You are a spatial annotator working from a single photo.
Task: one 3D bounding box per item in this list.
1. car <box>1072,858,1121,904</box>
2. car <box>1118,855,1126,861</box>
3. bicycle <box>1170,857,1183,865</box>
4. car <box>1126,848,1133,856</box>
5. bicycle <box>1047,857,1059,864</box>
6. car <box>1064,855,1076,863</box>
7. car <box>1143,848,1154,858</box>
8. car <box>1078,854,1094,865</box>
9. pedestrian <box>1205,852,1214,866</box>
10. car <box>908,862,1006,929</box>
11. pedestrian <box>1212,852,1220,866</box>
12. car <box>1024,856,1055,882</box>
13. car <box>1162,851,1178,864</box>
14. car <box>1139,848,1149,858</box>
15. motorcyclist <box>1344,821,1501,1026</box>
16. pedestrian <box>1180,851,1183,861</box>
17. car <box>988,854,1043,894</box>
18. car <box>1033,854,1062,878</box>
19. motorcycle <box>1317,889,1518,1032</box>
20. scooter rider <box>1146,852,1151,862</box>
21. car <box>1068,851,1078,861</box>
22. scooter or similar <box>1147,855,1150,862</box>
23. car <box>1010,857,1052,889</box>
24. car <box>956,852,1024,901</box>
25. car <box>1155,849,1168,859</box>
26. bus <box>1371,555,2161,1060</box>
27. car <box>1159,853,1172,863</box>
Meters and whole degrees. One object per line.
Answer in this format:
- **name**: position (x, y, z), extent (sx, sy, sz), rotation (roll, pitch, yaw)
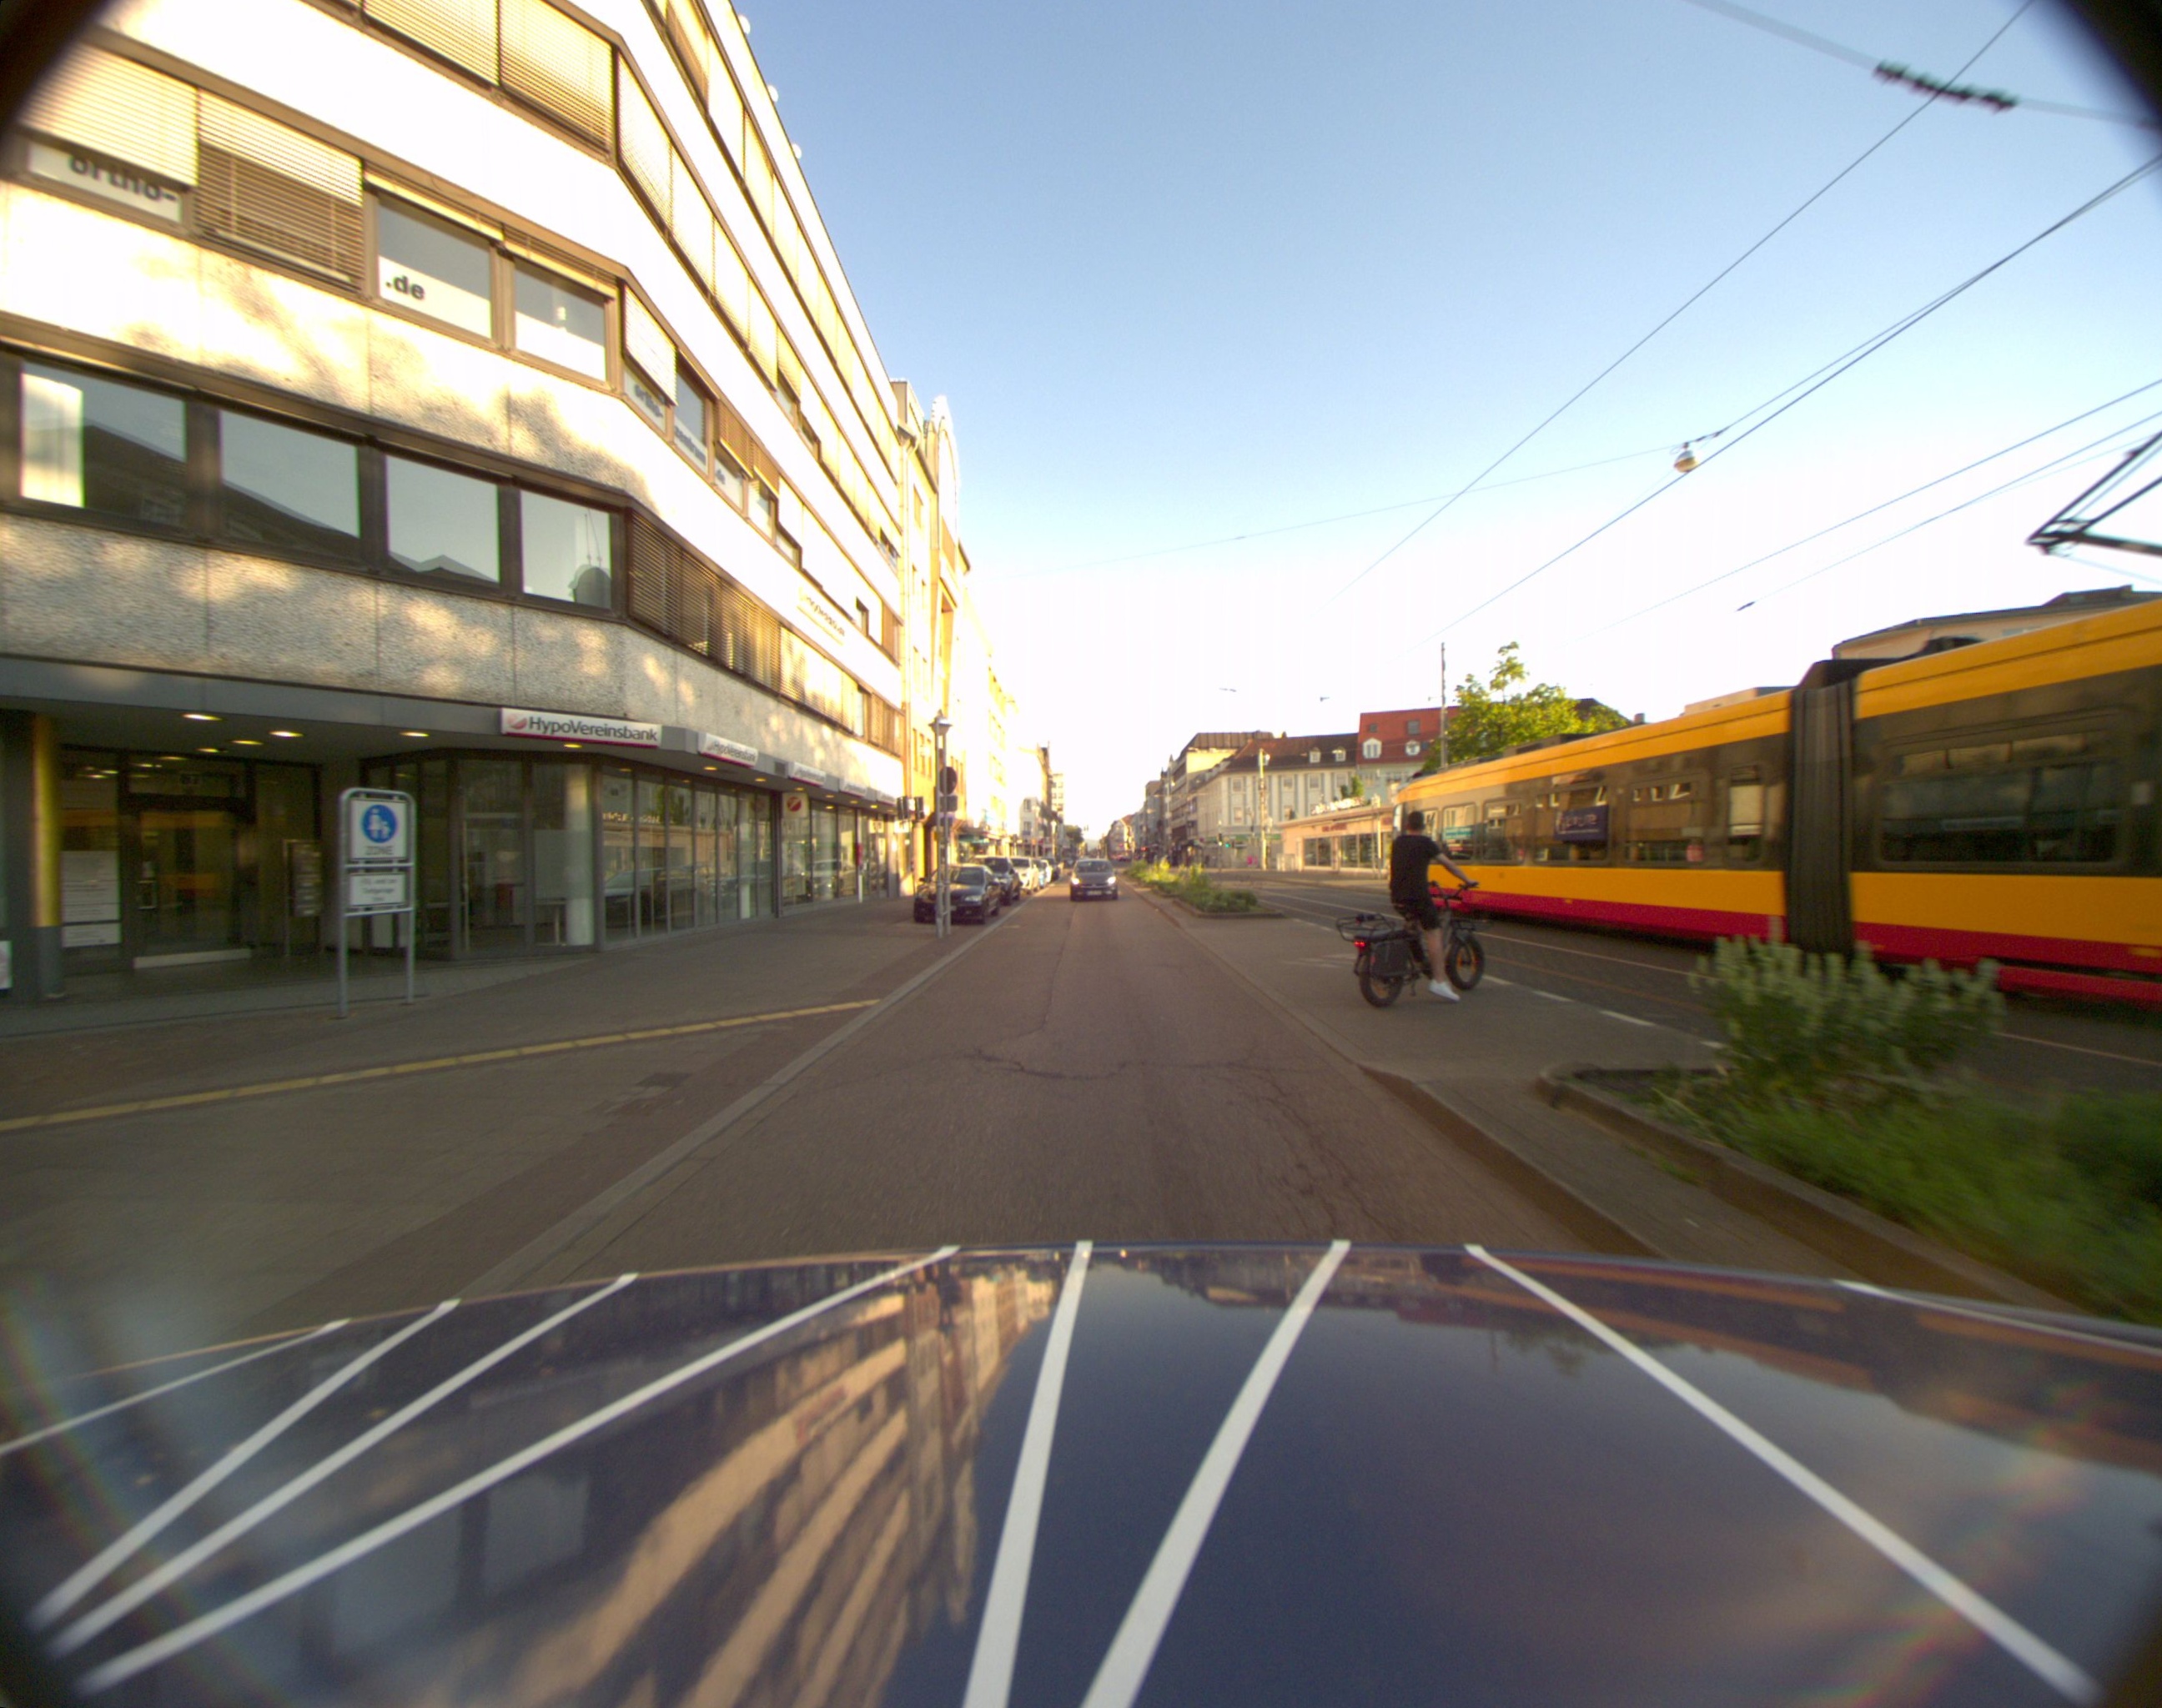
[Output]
- **car**: position (0.524, 0.908, 27.045), extent (1.587, 1.445, 3.842), rotation (-1, 1, 0)
- **car**: position (11.541, 1.028, 213.438), extent (1.895, 1.471, 4.545), rotation (2, -2, 1)
- **bicycle**: position (13.408, 0.993, 106.325), extent (1.740, 1.052, 0.499), rotation (-1, -1, 9)
- **car**: position (15.490, -0.676, 240.789), extent (1.975, 2.181, 4.132), rotation (-1, 2, 1)
- **bicycle**: position (-4.247, 1.001, 115.101), extent (1.828, 1.025, 0.443), rotation (-1, 1, -5)
- **car**: position (-2.061, 0.932, 140.846), extent (2.041, 1.550, 4.386), rotation (-1, 0, 0)
- **car**: position (14.183, -0.148, 159.235), extent (1.998, 2.002, 3.999), rotation (-1, 2, 1)
- **car**: position (0.662, 0.732, 99.554), extent (1.914, 1.350, 3.747), rotation (-2, 0, 4)
- **pedestrian**: position (15.689, 0.625, 92.838), extent (0.827, 1.718, 0.813), rotation (-2, 1, 0)
- **car**: position (-3.000, 0.946, 19.241), extent (1.659, 1.372, 4.341), rotation (3, 0, 1)
- **pedestrian**: position (16.353, 0.601, 91.812), extent (0.826, 1.631, 0.815), rotation (-2, 0, 17)
- **car**: position (-2.557, 0.915, 47.425), extent (1.735, 1.427, 4.151), rotation (-1, 2, -1)
- **car**: position (13.936, 0.528, 118.952), extent (1.915, 1.785, 4.128), rotation (-2, 1, 0)
- **car**: position (13.724, -0.189, 165.927), extent (1.998, 2.047, 3.999), rotation (-1, 2, 2)
- **motorcyclist**: position (3.270, 0.600, 7.332), extent (1.006, 1.803, 0.957), rotation (-2, 3, -26)
- **pedestrian**: position (17.166, 0.353, 129.794), extent (0.515, 1.724, 0.601), rotation (-1, 0, 1)
- **car**: position (-2.801, 0.812, 33.488), extent (1.821, 1.576, 4.723), rotation (-1, 0, 2)
- **car**: position (-2.310, 0.788, 53.493), extent (1.769, 1.595, 4.287), rotation (-1, 0, 0)
- **motorcycle**: position (3.264, 0.965, 7.317), extent (2.053, 1.117, 0.567), rotation (-2, 3, -26)
- **scooter rider**: position (12.553, 0.490, 141.542), extent (0.813, 1.796, 0.788), rotation (-1, 1, 4)
- **car**: position (-1.646, 0.373, 157.860), extent (2.041, 2.105, 4.386), rotation (-1, 0, 0)
- **scooter or similar**: position (12.601, 0.890, 141.499), extent (0.545, 1.343, 1.669), rotation (-1, 0, 4)
- **car**: position (-2.535, 0.944, 39.646), extent (1.814, 1.543, 4.836), rotation (-1, 0, 0)
- **car**: position (-3.074, 0.763, 26.484), extent (1.780, 1.529, 4.579), rotation (-1, -1, 0)
- **car**: position (14.114, -0.009, 133.337), extent (1.819, 1.548, 3.999), rotation (-1, 2, 1)
- **bus**: position (9.338, -0.365, 12.576), extent (2.829, 3.630, 17.072), rotation (-1, 0, 1)
- **car**: position (13.947, 0.690, 125.049), extent (1.701, 1.614, 4.000), rotation (-1, 0, 0)
